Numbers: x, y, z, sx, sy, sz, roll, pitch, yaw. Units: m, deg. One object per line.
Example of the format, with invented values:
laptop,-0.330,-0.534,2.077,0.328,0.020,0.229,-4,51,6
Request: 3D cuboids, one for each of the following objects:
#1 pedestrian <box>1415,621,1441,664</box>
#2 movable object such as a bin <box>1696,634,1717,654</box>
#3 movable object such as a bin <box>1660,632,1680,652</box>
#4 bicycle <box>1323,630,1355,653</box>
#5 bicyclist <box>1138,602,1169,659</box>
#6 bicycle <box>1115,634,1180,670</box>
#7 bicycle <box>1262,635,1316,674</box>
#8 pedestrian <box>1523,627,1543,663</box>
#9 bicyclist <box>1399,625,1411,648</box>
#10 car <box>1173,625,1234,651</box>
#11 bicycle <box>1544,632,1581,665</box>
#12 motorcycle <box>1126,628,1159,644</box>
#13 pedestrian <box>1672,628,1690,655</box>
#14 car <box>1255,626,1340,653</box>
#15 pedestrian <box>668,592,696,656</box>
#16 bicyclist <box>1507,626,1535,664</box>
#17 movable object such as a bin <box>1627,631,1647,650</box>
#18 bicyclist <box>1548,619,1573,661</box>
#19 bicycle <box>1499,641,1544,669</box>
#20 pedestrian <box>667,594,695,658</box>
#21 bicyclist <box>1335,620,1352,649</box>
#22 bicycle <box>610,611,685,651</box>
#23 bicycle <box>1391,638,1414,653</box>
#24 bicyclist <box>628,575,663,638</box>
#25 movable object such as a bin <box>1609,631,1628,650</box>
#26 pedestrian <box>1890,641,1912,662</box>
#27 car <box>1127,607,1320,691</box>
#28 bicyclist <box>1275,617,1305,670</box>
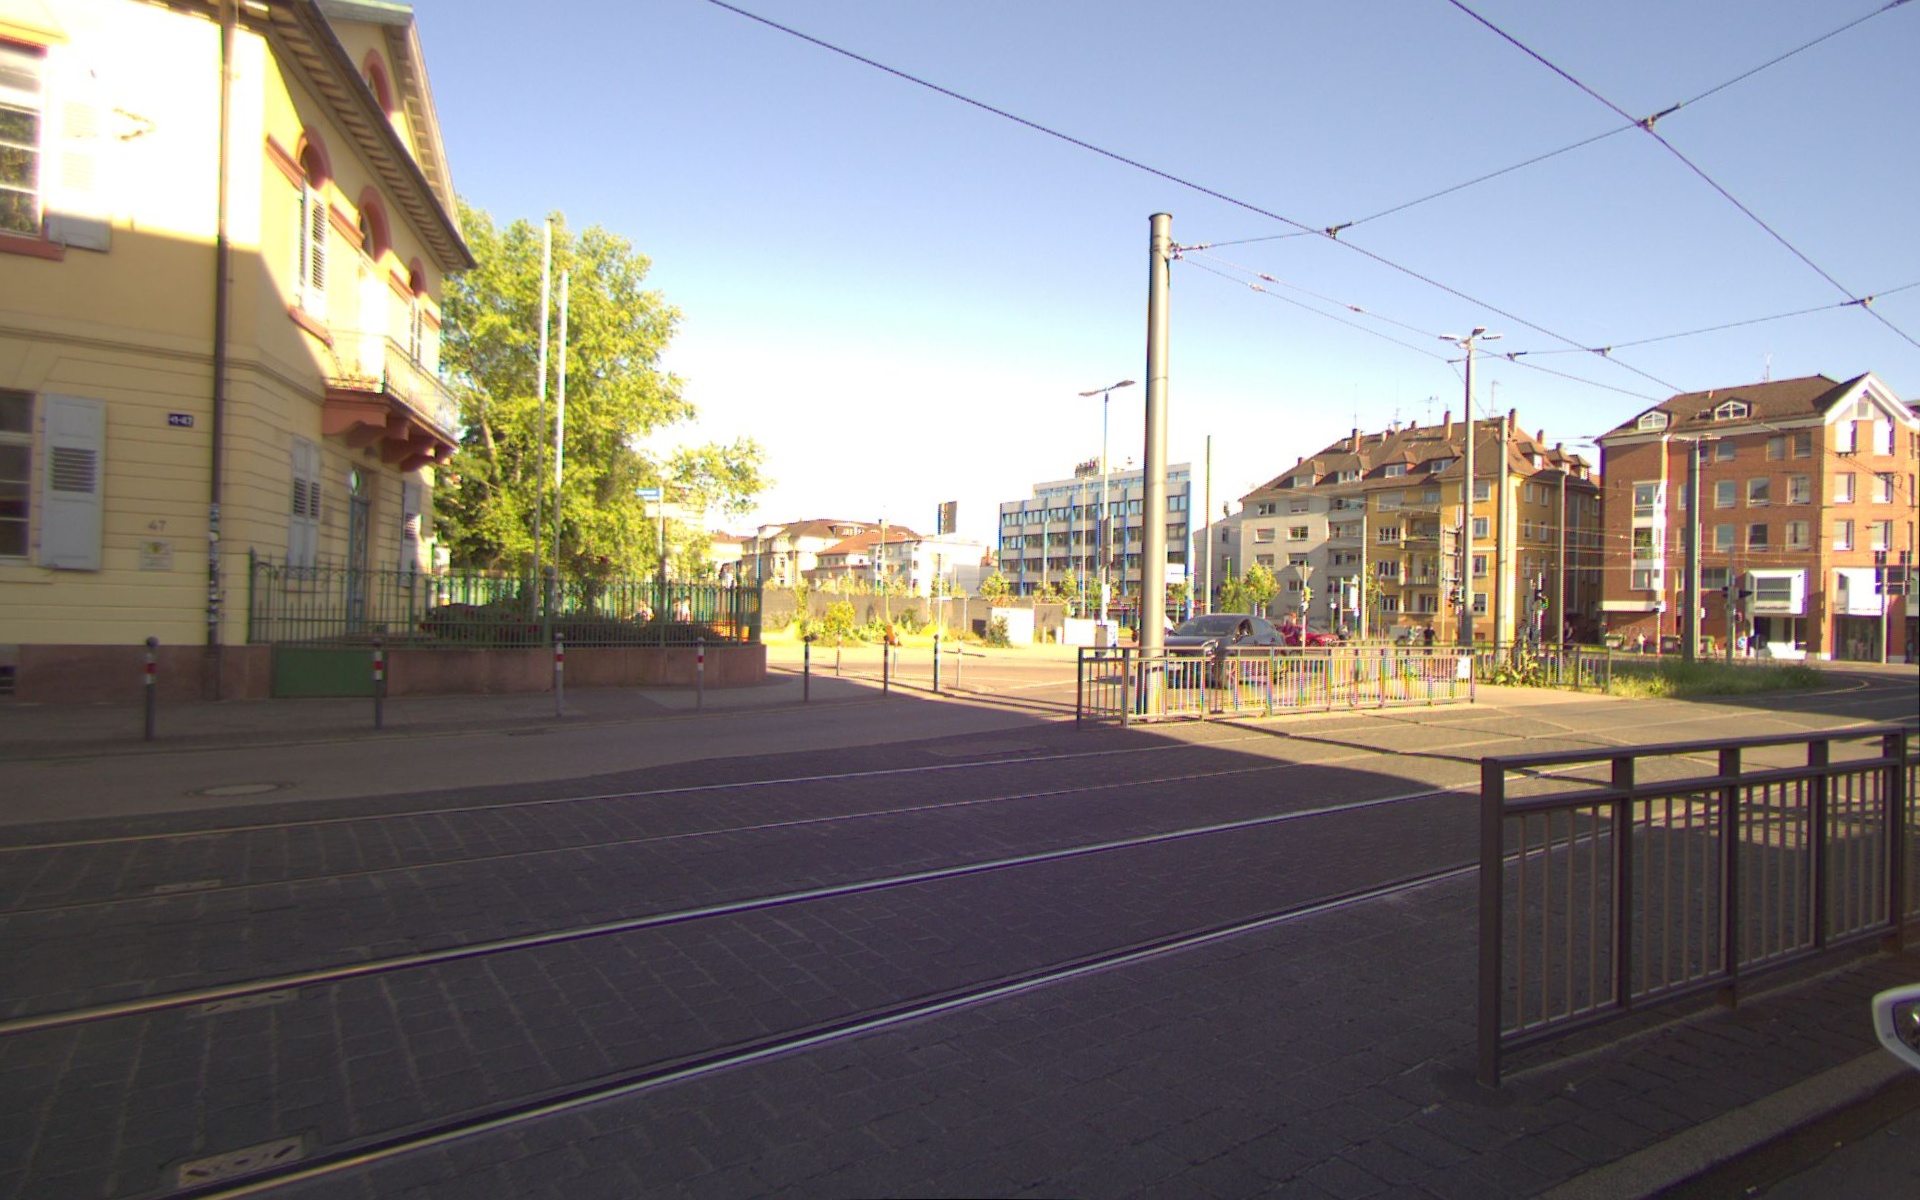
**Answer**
pedestrian,21.840,1.974,46.851,0.787,1.959,0.720,2,0,-26
movable object such as a bin,56.107,3.301,75.524,1.087,1.456,0.988,2,0,-39
movable object such as a bin,54.708,3.240,77.422,1.087,1.456,0.988,2,0,-39
bicycle,20.316,2.222,53.869,0.608,1.148,1.481,2,0,-44
bicyclist,5.935,0.922,30.815,0.756,1.695,0.522,2,0,-6
bicycle,5.753,1.583,30.807,1.850,1.027,0.531,2,0,-7
bicycle,10.814,1.788,32.983,1.862,1.230,0.527,2,0,-29
pedestrian,27.563,2.158,48.313,0.700,1.711,0.618,0,2,-42
bicyclist,25.417,2.092,57.393,0.453,1.333,0.398,2,0,44
car,15.688,2.416,64.757,1.561,1.491,3.673,2,-1,-37
bicycle,24.365,1.962,40.618,2.008,1.308,0.569,3,0,-38
motorcycle,12.506,2.465,68.911,0.784,0.997,2.341,2,0,-36
pedestrian,46.247,2.669,64.421,0.921,1.733,0.690,2,0,-37
car,19.874,2.322,59.257,1.768,1.529,4.512,2,-2,-40
pedestrian,-8.172,0.705,29.546,0.694,1.841,0.593,2,0,-20
bicyclist,21.977,1.760,39.369,0.722,1.473,0.660,2,0,-30
movable object such as a bin,53.454,3.202,79.326,1.087,1.456,0.988,2,0,-39
bicyclist,24.245,1.604,40.525,0.799,1.671,0.584,2,0,-39
bicycle,22.009,2.155,39.380,1.862,1.027,0.647,2,0,-29
pedestrian,-8.398,0.782,30.227,0.728,1.876,0.704,2,0,-20
bicyclist,20.494,1.836,53.684,0.606,1.513,0.608,2,0,-44
bicycle,-8.545,0.839,27.477,1.862,1.027,0.530,2,0,-9
bicycle,25.313,2.598,57.470,1.160,0.774,0.318,2,0,44
bicyclist,-8.595,0.175,27.461,0.756,1.695,0.526,2,0,-8
movable object such as a bin,52.637,3.201,80.283,1.087,1.456,0.988,2,0,-39
pedestrian,74.185,4.050,79.167,0.848,1.589,0.886,2,0,-8
car,5.601,1.022,21.172,4.082,1.581,1.674,3,-1,-35
bicyclist,10.825,1.421,32.978,0.761,1.695,0.518,2,0,-29
